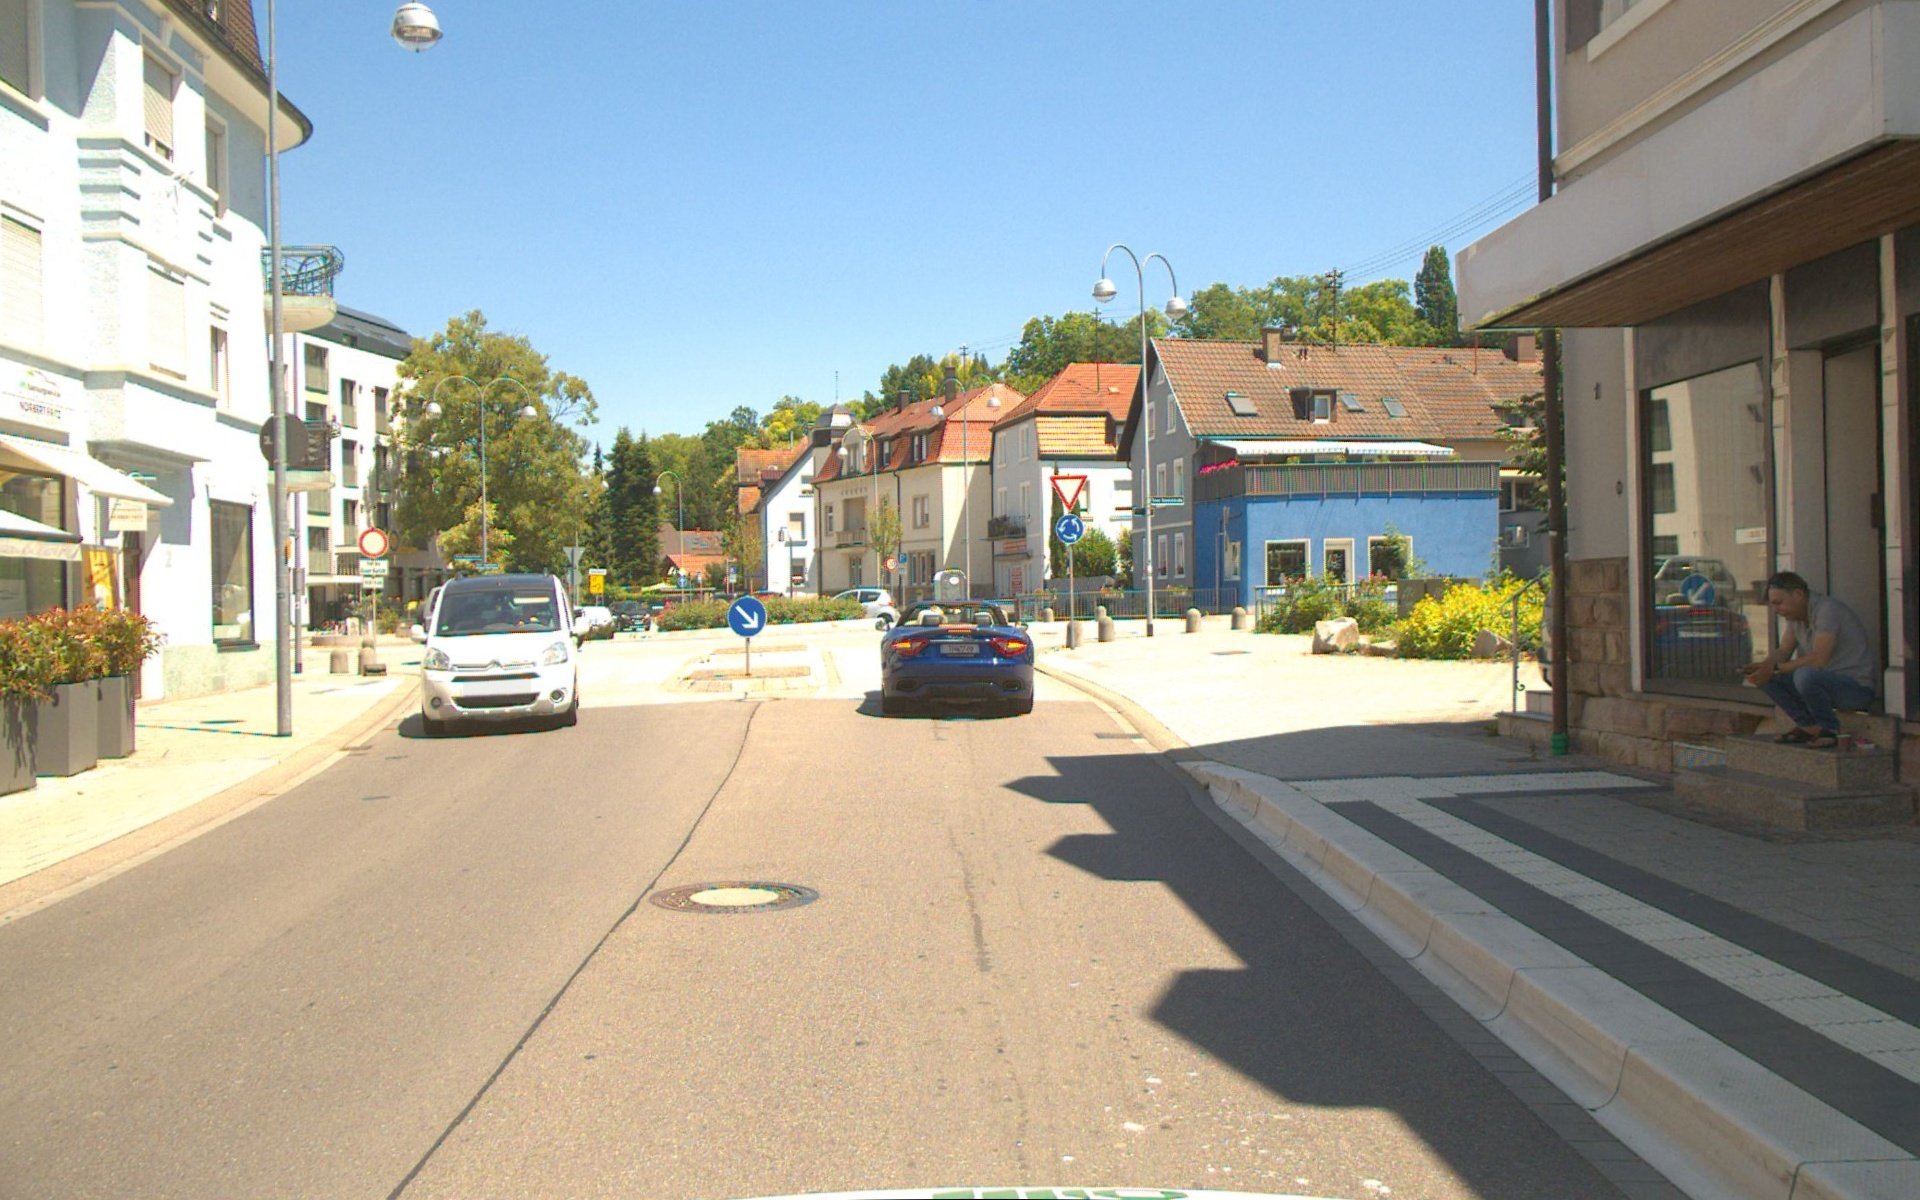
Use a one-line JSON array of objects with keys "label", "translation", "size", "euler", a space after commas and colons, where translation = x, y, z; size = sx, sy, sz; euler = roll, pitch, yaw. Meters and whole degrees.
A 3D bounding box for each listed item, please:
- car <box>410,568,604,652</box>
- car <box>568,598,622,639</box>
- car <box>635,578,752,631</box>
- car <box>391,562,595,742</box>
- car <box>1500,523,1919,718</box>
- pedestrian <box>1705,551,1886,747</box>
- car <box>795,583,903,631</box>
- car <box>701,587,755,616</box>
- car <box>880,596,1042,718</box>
[{"label": "car", "translation": [-10.936, 0.227, 40.078], "size": [4.127, 1.907, 1.765], "euler": [-1, 1, 7]}, {"label": "car", "translation": [-15.240, 0.776, 69.237], "size": [1.957, 1.536, 3.991], "euler": [-3, 0, -10]}, {"label": "car", "translation": [-7.622, 0.155, 47.029], "size": [1.972, 1.353, 4.160], "euler": [-3, 0, -29]}, {"label": "car", "translation": [-5.570, 0.558, 20.234], "size": [1.958, 1.853, 4.403], "euler": [-3, 1, -11]}, {"label": "car", "translation": [7.680, 0.166, 16.419], "size": [3.980, 1.623, 1.801], "euler": [-3, 0, -2]}, {"label": "pedestrian", "translation": [4.623, 0.257, 9.187], "size": [0.578, 1.017, 0.723], "euler": [-3, 0, -3]}, {"label": "car", "translation": [-3.793, 0.232, 56.929], "size": [3.385, 1.475, 1.581], "euler": [-3, 0, 8]}, {"label": "car", "translation": [-14.436, 0.092, 102.721], "size": [1.833, 1.615, 3.956], "euler": [-3, 1, -32]}, {"label": "car", "translation": [-0.018, 0.652, 21.324], "size": [1.872, 1.384, 4.285], "euler": [-1, 0, -1]}]
